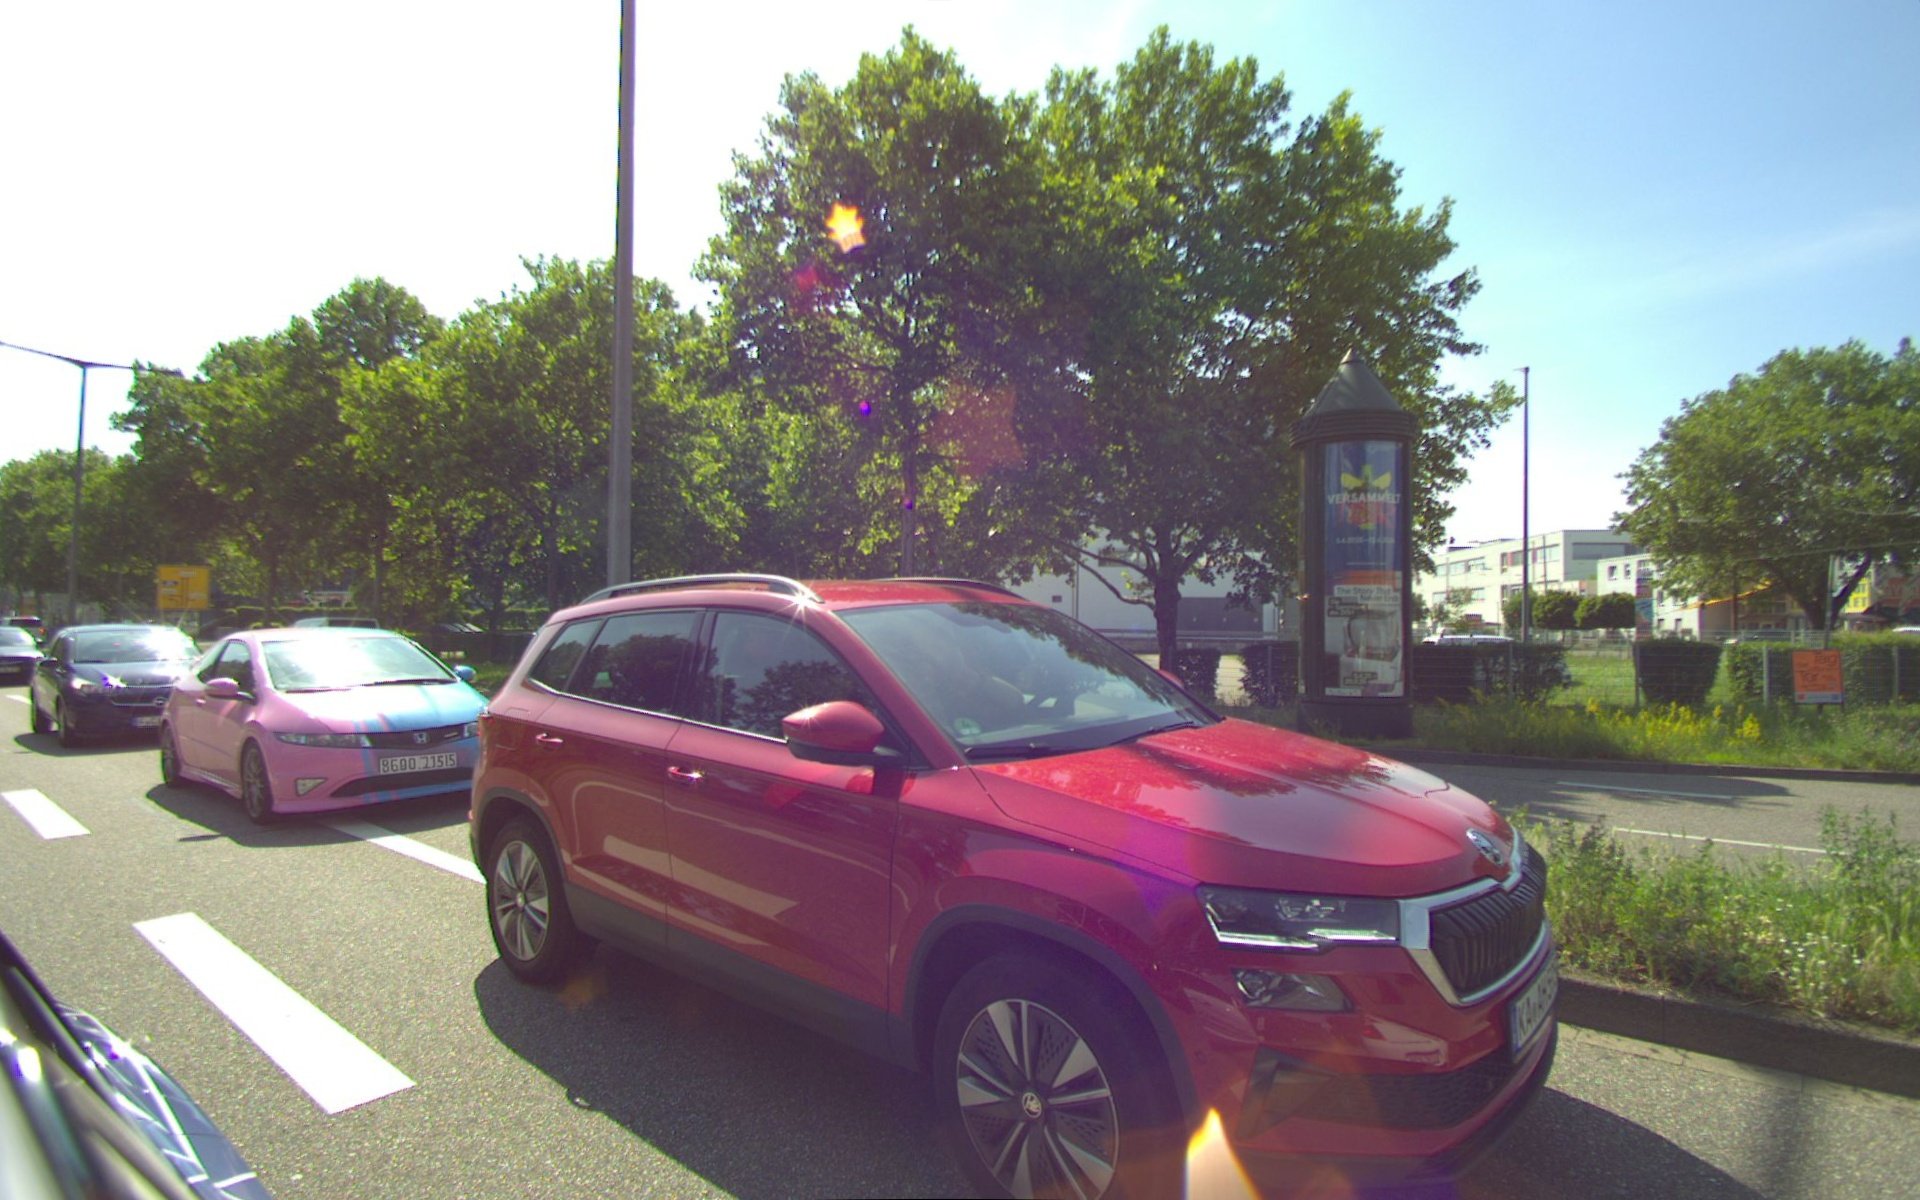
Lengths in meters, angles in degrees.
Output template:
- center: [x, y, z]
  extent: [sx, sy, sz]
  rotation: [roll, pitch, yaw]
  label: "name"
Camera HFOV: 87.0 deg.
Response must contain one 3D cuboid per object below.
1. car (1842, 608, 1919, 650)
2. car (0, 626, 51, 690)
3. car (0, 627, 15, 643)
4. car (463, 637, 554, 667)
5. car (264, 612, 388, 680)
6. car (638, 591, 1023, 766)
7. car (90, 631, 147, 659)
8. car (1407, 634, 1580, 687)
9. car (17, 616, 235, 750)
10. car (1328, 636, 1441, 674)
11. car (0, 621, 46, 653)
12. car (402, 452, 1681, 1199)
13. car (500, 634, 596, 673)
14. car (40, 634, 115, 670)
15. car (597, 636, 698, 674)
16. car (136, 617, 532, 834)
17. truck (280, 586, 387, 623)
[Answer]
- center: [33.931, 1.045, 35.874]
  extent: [1.975, 1.431, 4.025]
  rotation: [0, -2, 5]
  label: "car"
- center: [-24.523, 1.448, 25.587]
  extent: [4.213, 1.518, 1.803]
  rotation: [-2, -2, 41]
  label: "car"
- center: [-91.673, 3.295, 96.567]
  extent: [3.999, 1.473, 1.744]
  rotation: [-1, -4, 42]
  label: "car"
- center: [-23.466, 2.707, 52.674]
  extent: [1.772, 1.475, 3.944]
  rotation: [-2, -3, 42]
  label: "car"
- center: [-20.646, 1.474, 32.868]
  extent: [5.211, 2.029, 1.972]
  rotation: [-2, -3, 41]
  label: "car"
- center: [-1.611, 0.852, 12.148]
  extent: [4.383, 1.764, 1.849]
  rotation: [-1, -3, 31]
  label: "car"
- center: [-46.567, 2.481, 55.989]
  extent: [4.357, 1.409, 1.768]
  rotation: [-1, -3, 42]
  label: "car"
- center: [18.164, 2.051, 34.632]
  extent: [4.780, 1.678, 1.998]
  rotation: [1, -2, 3]
  label: "car"
- center: [-11.183, 1.001, 13.476]
  extent: [4.046, 1.494, 1.609]
  rotation: [-2, -1, 41]
  label: "car"
- center: [19.032, 2.446, 45.506]
  extent: [4.286, 1.633, 1.815]
  rotation: [0, -2, 5]
  label: "car"
- center: [-58.625, 2.287, 62.770]
  extent: [5.415, 1.898, 2.095]
  rotation: [-2, -3, 40]
  label: "car"
- center: [-0.239, 0.628, 3.761]
  extent: [4.591, 1.605, 1.764]
  rotation: [-2, -2, 41]
  label: "car"
- center: [-20.713, 2.652, 50.952]
  extent: [2.158, 1.836, 3.941]
  rotation: [-1, -1, 45]
  label: "car"
- center: [-40.194, 2.327, 46.055]
  extent: [4.680, 1.542, 1.972]
  rotation: [-2, -3, 42]
  label: "car"
- center: [-14.008, 2.441, 45.502]
  extent: [1.868, 1.614, 3.946]
  rotation: [-2, -3, 40]
  label: "car"
- center: [-5.600, 0.890, 8.791]
  extent: [4.469, 1.400, 1.684]
  rotation: [-2, -1, 41]
  label: "car"
- center: [-59.907, 0.429, 96.787]
  extent: [8.877, 3.421, 2.669]
  rotation: [0, -2, 6]
  label: "truck"
